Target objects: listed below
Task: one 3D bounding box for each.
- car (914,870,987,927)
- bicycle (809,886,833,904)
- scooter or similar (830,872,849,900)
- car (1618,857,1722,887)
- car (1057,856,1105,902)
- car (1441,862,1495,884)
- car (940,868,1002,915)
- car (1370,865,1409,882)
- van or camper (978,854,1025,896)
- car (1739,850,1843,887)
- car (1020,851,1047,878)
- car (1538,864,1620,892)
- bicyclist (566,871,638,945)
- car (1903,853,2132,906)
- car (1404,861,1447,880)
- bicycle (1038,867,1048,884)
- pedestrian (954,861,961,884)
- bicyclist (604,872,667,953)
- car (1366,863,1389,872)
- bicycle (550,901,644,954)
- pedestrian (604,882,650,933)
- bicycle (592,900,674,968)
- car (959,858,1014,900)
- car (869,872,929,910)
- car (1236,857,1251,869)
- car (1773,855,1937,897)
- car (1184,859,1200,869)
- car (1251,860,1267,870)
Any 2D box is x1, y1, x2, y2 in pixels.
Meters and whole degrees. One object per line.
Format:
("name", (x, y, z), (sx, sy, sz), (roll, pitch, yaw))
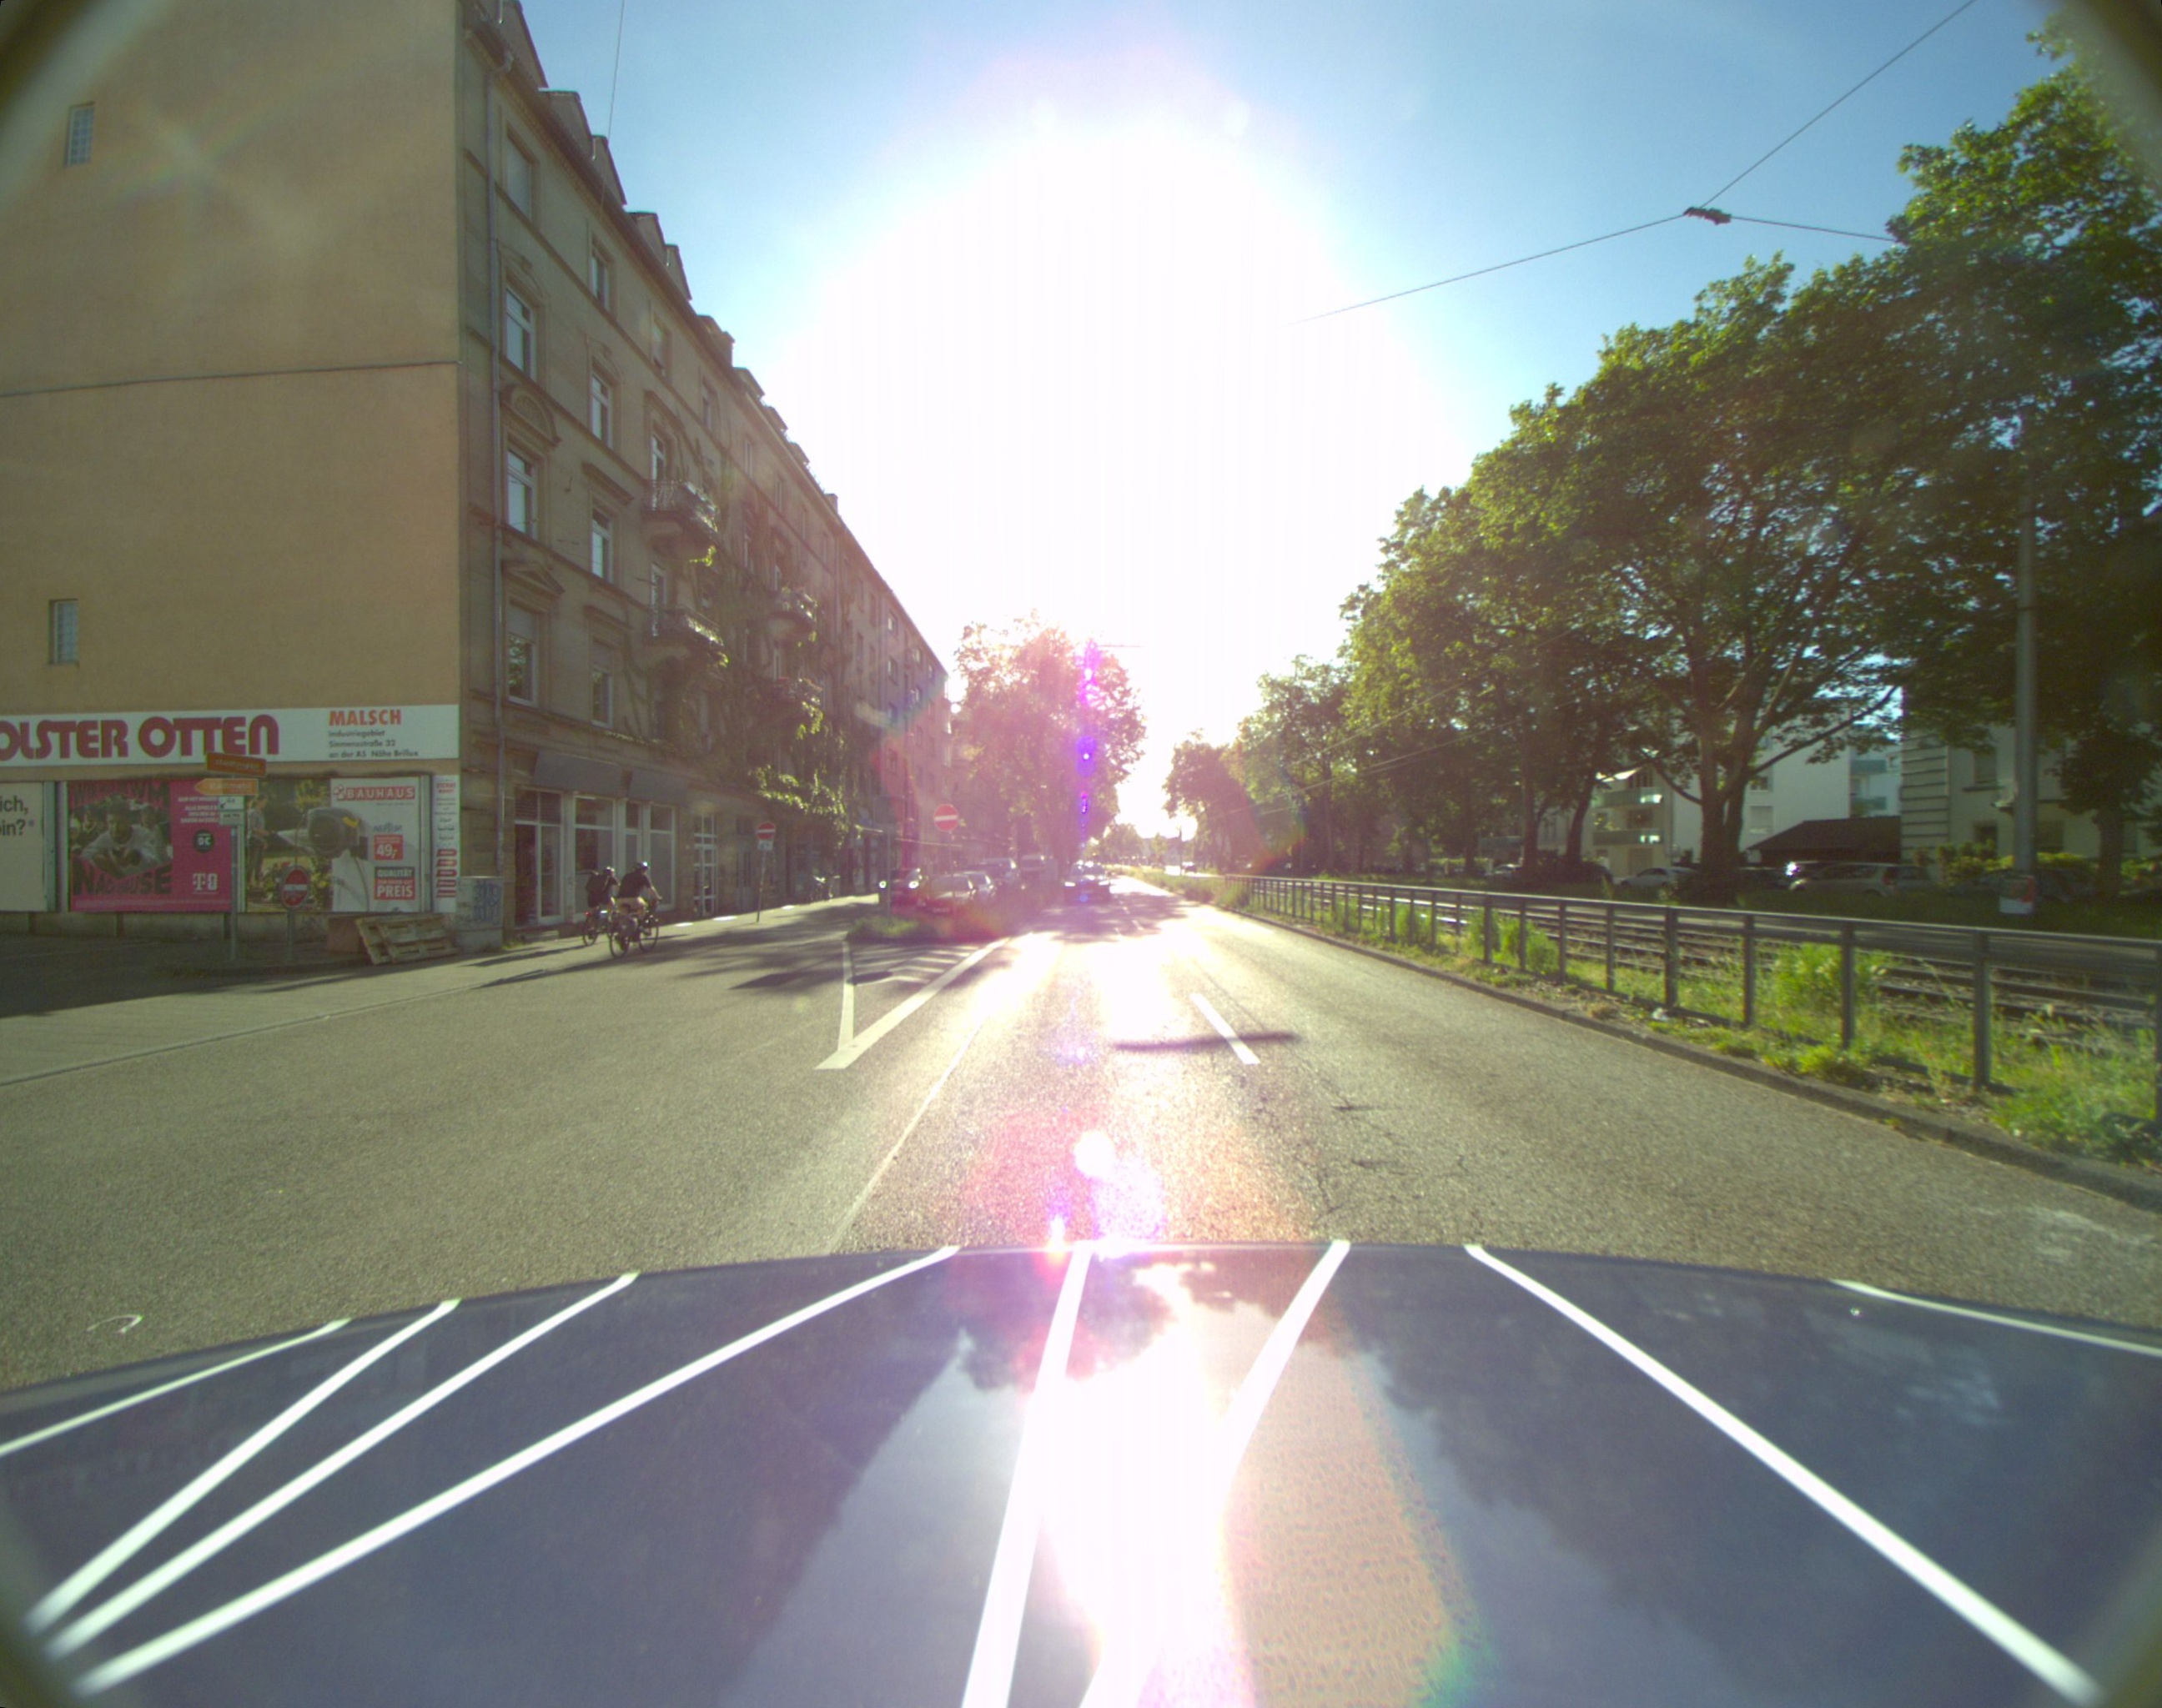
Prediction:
("car", (-4.046, 1.343, 24.133), (1.645, 1.508, 4.000), (-3, 0, -1))
("bicycle", (-11.039, 1.716, 32.262), (0.469, 0.701, 1.513), (0, 0, 1))
("scooter or similar", (-10.693, 1.390, 33.574), (0.638, 1.166, 1.731), (0, 0, -24))
("car", (28.485, 0.834, 36.925), (1.644, 1.316, 4.461), (2, 0, 1))
("car", (0.048, 1.040, 33.075), (1.876, 1.788, 4.633), (-2, 0, 1))
("car", (28.660, 1.391, 56.428), (1.998, 1.523, 4.000), (0, 0, 1))
("car", (-4.063, 1.354, 28.584), (1.743, 1.508, 4.000), (-3, 0, -1))
("car", (27.453, 1.698, 67.730), (1.998, 1.477, 4.000), (0, 0, 1))
("van or camper", (-4.040, 1.047, 39.341), (1.888, 2.002, 5.095), (0, 0, 0))
("car", (37.174, 0.766, 39.905), (1.853, 1.848, 3.821), (0, -1, 0))
("car", (-4.483, 1.013, 72.500), (2.079, 2.420, 5.857), (-1, 0, 1))
("car", (28.509, 1.341, 43.677), (1.998, 1.444, 4.319), (0, 0, 1))
("bicyclist", (-10.103, 1.110, 16.056), (0.678, 1.437, 1.182), (3, 0, 1))
("car", (28.336, 0.710, 23.263), (1.789, 1.432, 4.319), (-1, 0, 3))
("car", (28.339, 1.336, 62.667), (1.801, 1.464, 4.000), (0, 0, 1))
("bicycle", (-2.743, 1.552, 54.619), (0.466, 1.206, 1.751), (0, 0, 5))
("pedestrian", (-9.671, 1.428, 59.466), (0.470, 1.822, 0.516), (0, 0, 1))
("bicyclist", (-8.463, 1.091, 14.483), (0.747, 1.453, 0.950), (-2, 0, -14))
("car", (28.472, 1.266, 73.026), (1.109, 0.871, 3.060), (-1, -1, 1))
("bicycle", (-10.165, 1.520, 16.047), (0.651, 0.914, 1.918), (3, -1, 2))
("pedestrian", (-11.594, 1.361, 19.407), (0.717, 1.253, 0.713), (1, 0, 1))
("bicycle", (-8.481, 1.484, 14.493), (0.759, 1.095, 1.952), (0, 0, -12))
("car", (-4.149, 1.053, 33.815), (1.869, 1.753, 4.000), (0, 0, 1))
("car", (-8.058, 1.594, 34.069), (1.702, 1.518, 4.380), (0, 0, -1))
("car", (28.102, 1.564, 131.305), (1.998, 2.002, 4.002), (0, 0, 5))
("car", (28.365, 0.770, 28.076), (1.739, 1.432, 4.319), (0, 0, 1))
("car", (18.314, 1.701, 125.525), (1.862, 1.637, 4.460), (0, 0, -1))
("car", (28.343, 1.747, 120.889), (1.771, 1.477, 3.688), (0, 0, 1))
